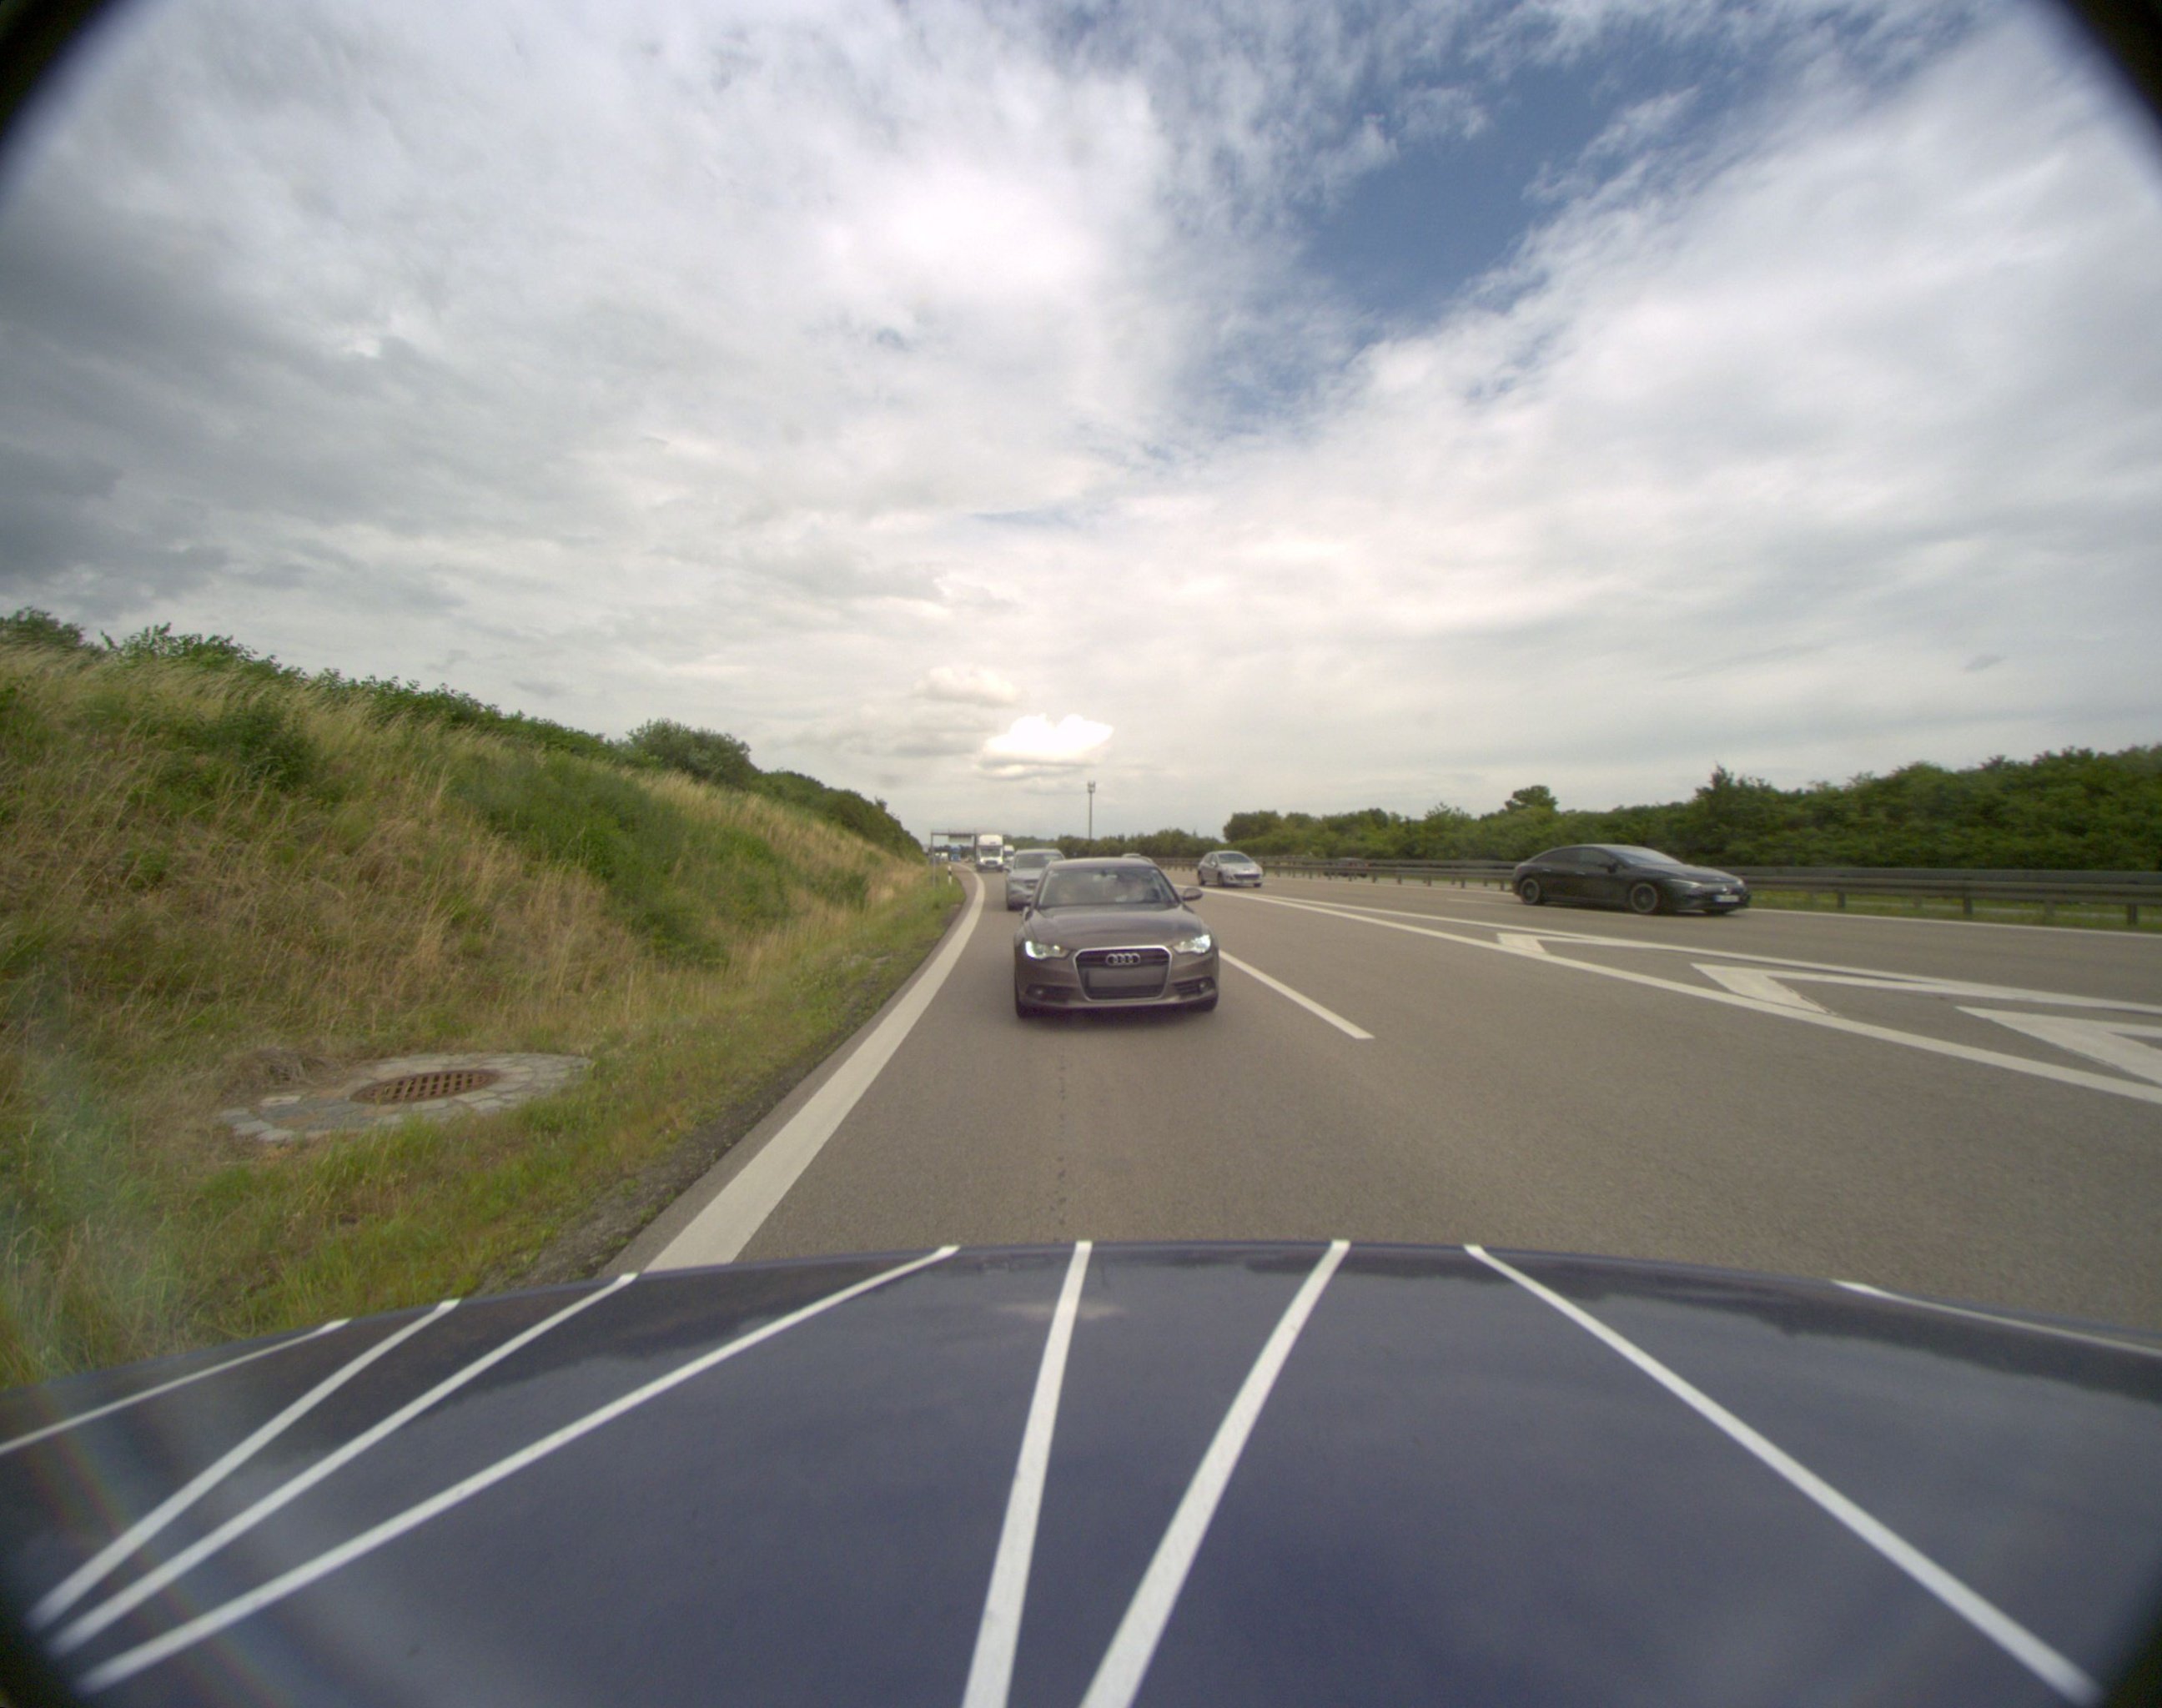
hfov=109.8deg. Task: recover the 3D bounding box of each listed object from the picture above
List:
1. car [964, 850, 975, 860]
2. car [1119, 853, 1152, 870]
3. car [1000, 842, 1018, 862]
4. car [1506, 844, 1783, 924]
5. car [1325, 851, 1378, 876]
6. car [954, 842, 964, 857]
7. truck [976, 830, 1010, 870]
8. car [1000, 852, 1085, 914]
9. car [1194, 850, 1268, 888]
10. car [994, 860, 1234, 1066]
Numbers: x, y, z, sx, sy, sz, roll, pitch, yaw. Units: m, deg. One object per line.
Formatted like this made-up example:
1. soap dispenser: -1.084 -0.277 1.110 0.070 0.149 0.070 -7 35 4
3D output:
1. car: -22.873 0.271 155.844 2.000 2.002 3.996 -1 0 -10
2. car: 4.698 0.644 66.235 1.842 1.444 4.374 -1 0 -10
3. car: -9.085 -0.220 95.823 2.000 2.381 3.996 -2 1 -8
4. car: 12.097 0.557 16.833 2.001 1.501 4.773 0 0 -13
5. car: 19.678 0.655 55.435 2.000 1.792 3.996 0 0 -9
6. car: -31.597 -1.149 196.475 2.506 3.689 7.694 -1 0 -10
7. truck: -7.644 -0.331 65.469 2.450 3.217 7.184 -1 0 -10
8. car: -1.191 0.728 21.468 2.000 1.567 3.996 -1 0 -9
9. car: 6.187 0.576 31.731 1.723 1.510 3.996 0 0 -10
10. car: 0.176 0.866 7.959 1.849 1.489 4.027 -1 1 -3
